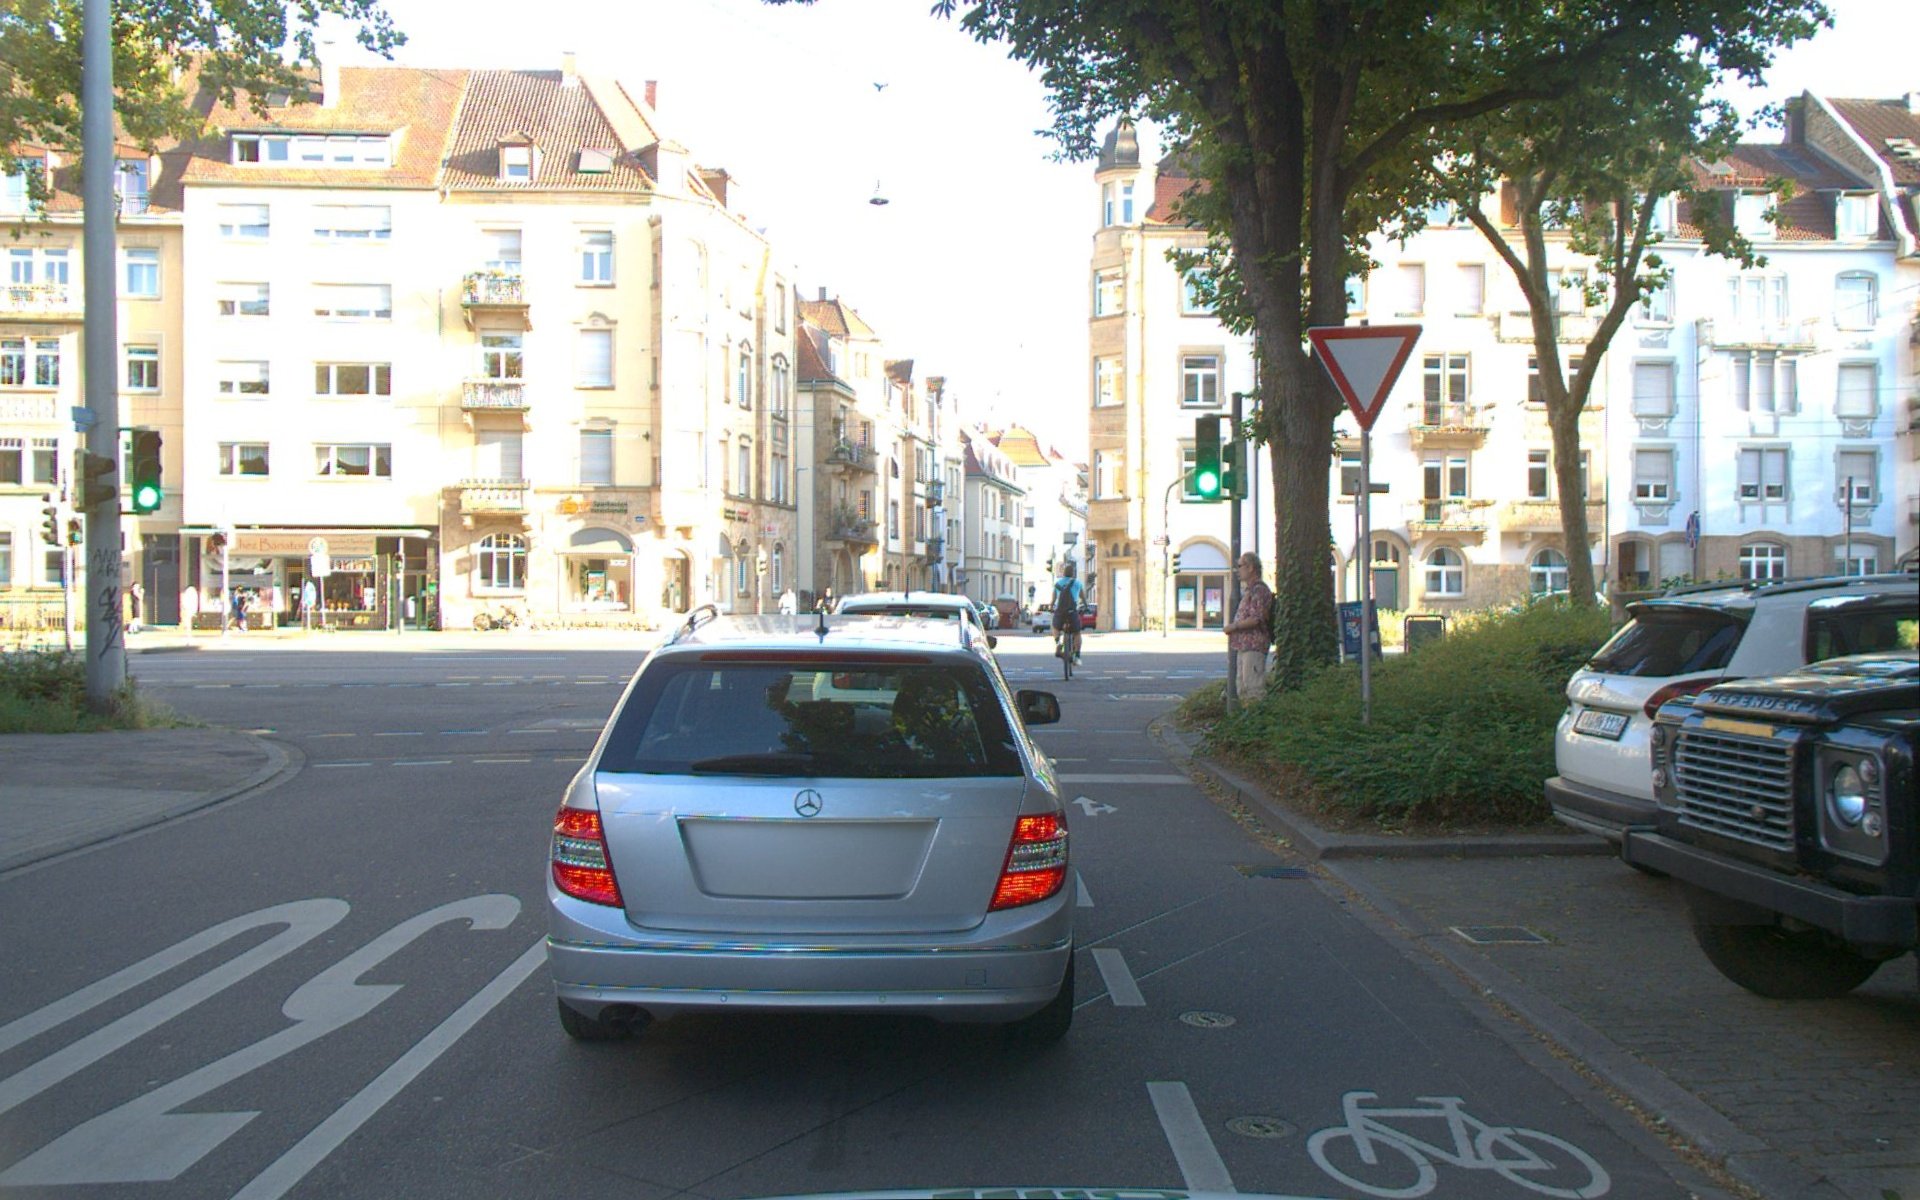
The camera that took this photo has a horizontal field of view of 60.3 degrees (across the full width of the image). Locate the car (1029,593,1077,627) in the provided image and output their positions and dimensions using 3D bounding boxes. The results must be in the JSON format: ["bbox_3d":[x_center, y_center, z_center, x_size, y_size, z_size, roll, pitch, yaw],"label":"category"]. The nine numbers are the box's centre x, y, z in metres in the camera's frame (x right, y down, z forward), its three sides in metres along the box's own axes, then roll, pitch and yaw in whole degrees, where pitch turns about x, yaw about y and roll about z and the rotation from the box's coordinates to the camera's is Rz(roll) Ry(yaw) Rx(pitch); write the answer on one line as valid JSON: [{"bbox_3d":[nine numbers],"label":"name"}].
[{"bbox_3d":[4.586,0.479,81.284,1.684,1.504,4.004,-2,0,13],"label":"car"}]

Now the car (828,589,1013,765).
[{"bbox_3d":[-0.353,0.617,15.328,1.502,1.415,3.598,1,1,-1],"label":"car"}]

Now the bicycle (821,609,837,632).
[{"bbox_3d":[-5.020,0.799,63.450,0.557,0.849,1.565,0,0,-3],"label":"bicycle"}]

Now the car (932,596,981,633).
[{"bbox_3d":[-0.161,0.705,81.171,1.650,1.752,4.004,0,0,11],"label":"car"}]

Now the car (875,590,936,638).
[{"bbox_3d":[-2.292,0.582,71.223,1.896,1.993,4.153,0,0,9],"label":"car"}]

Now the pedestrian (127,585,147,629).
[{"bbox_3d":[-29.111,0.255,58.510,0.556,1.537,0.499,0,0,-19],"label":"pedestrian"}]

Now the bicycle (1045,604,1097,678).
[{"bbox_3d":[1.813,0.650,27.286,0.727,1.137,2.013,1,0,1],"label":"bicycle"}]

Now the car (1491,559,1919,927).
[{"bbox_3d":[4.700,0.608,8.394,3.413,1.614,1.709,-1,0,-6],"label":"car"}]

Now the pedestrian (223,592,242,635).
[{"bbox_3d":[-26.363,0.486,59.933,0.498,1.537,0.536,0,0,-6],"label":"pedestrian"}]

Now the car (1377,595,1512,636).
[{"bbox_3d":[13.188,0.413,45.144,3.295,1.087,1.380,0,0,-1],"label":"car"}]

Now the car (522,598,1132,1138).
[{"bbox_3d":[-0.419,0.745,6.321,1.656,1.454,3.491,1,0,-2],"label":"car"}]

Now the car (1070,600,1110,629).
[{"bbox_3d":[7.688,0.846,97.298,1.684,1.503,4.004,-4,0,13],"label":"car"}]

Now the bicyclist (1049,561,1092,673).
[{"bbox_3d":[1.805,0.276,27.106,0.633,1.806,0.831,1,0,0],"label":"bicyclist"}]

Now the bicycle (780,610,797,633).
[{"bbox_3d":[-6.467,0.809,62.325,0.557,0.849,1.565,0,0,-3],"label":"bicycle"}]

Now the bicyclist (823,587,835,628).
[{"bbox_3d":[-5.028,0.290,63.444,0.457,1.547,0.693,0,0,-3],"label":"bicyclist"}]

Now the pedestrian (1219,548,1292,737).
[{"bbox_3d":[2.984,0.418,16.733,0.619,1.877,0.574,0,0,-3],"label":"pedestrian"}]

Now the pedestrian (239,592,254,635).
[{"bbox_3d":[-25.747,0.491,59.695,0.465,1.537,0.428,0,0,-19],"label":"pedestrian"}]

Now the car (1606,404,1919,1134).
[{"bbox_3d":[4.719,0.380,5.499,4.401,1.990,1.792,-2,0,-2],"label":"car"}]

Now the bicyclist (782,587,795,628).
[{"bbox_3d":[-6.463,0.284,62.345,0.457,1.541,0.655,0,0,-3],"label":"bicyclist"}]
